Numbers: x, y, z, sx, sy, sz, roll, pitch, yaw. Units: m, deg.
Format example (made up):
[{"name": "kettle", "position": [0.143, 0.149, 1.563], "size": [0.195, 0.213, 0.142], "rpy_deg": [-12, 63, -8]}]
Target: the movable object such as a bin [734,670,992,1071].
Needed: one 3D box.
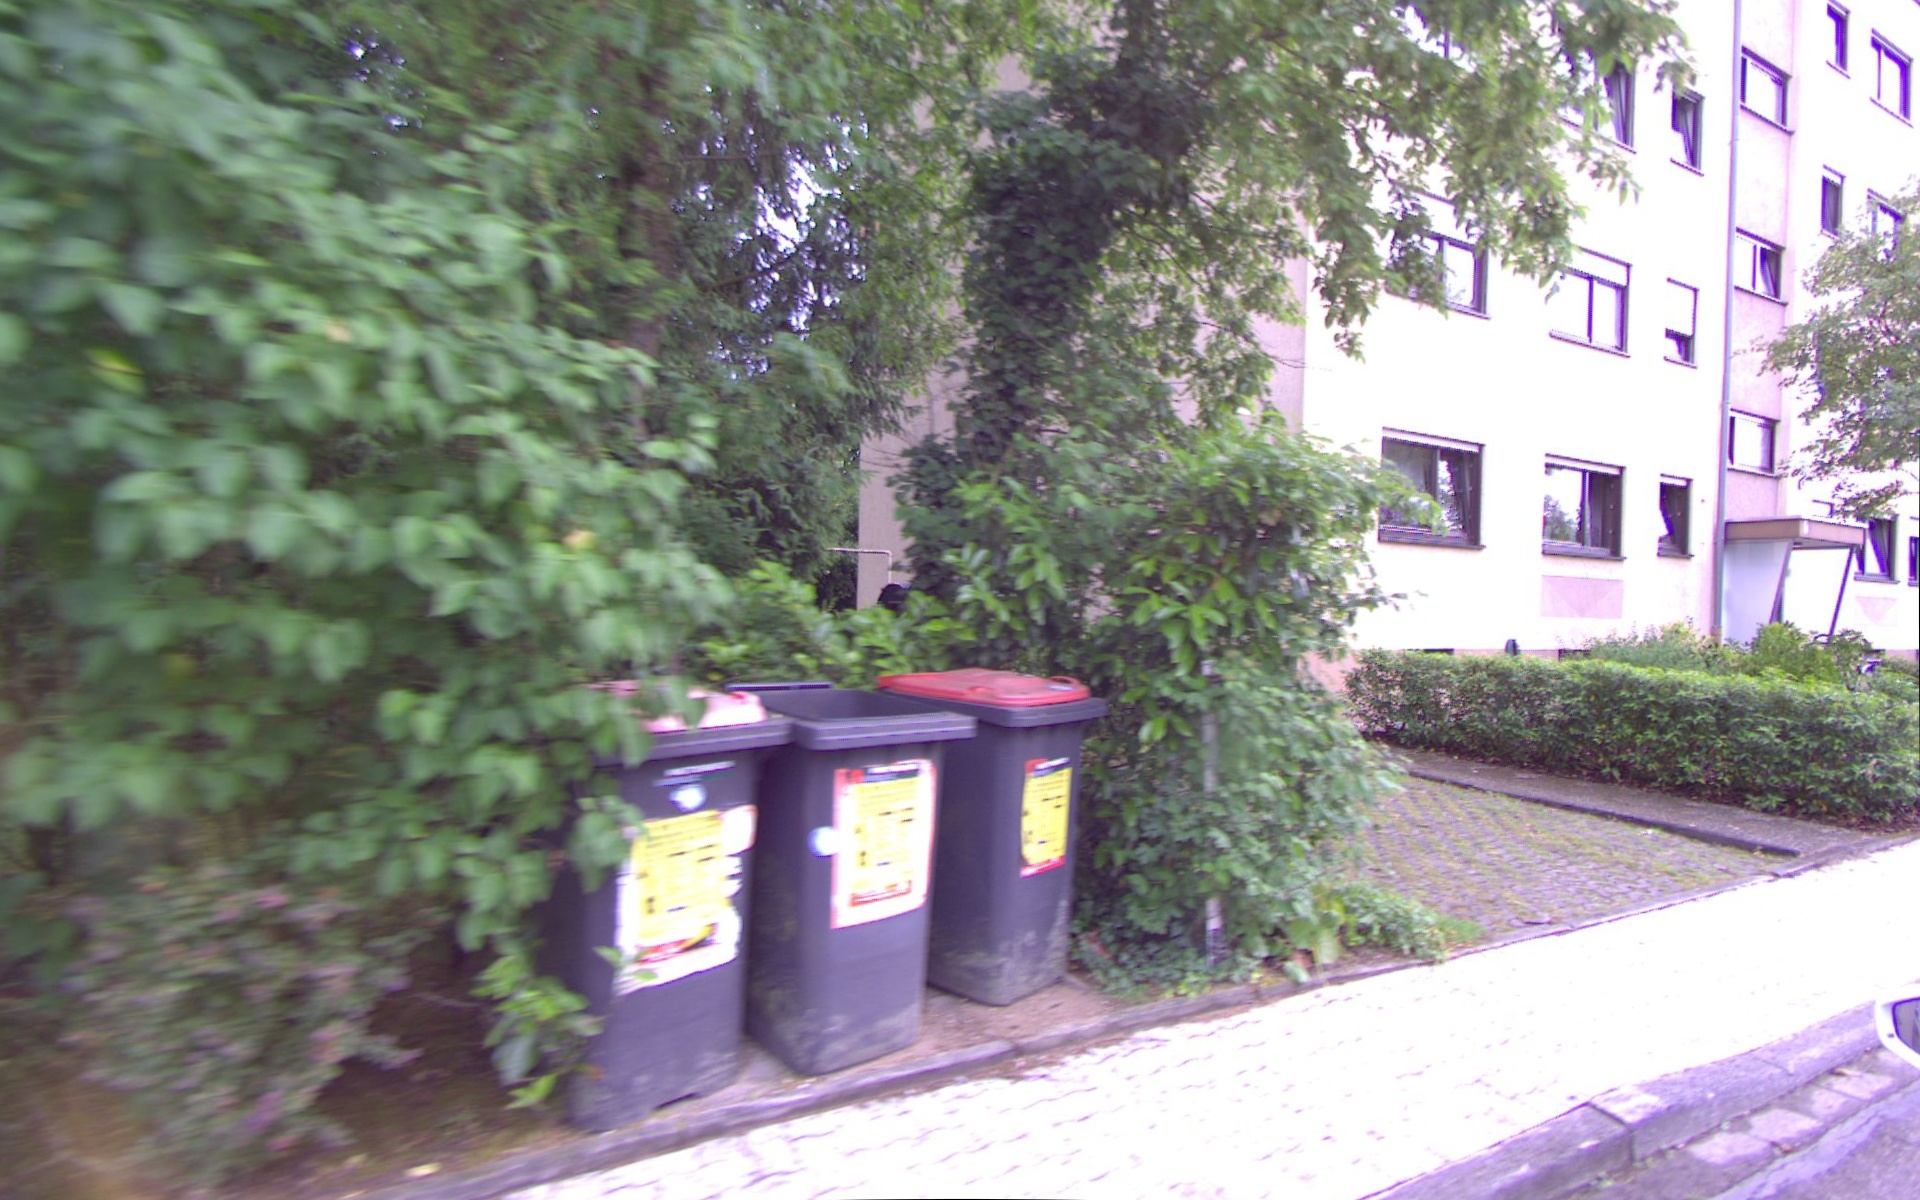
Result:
[{"name": "movable object such as a bin", "position": [-0.296, 0.747, 3.077], "size": [0.588, 1.035, 0.535], "rpy_deg": [-2, -2, 41]}]

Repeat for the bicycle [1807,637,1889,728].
[{"name": "bicycle", "position": [11.381, 1.032, 12.858], "size": [1.672, 1.065, 0.313], "rpy_deg": [-1, 0, -32]}]

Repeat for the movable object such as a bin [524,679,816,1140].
[{"name": "movable object such as a bin", "position": [-0.789, 0.749, 2.743], "size": [0.588, 1.035, 0.535], "rpy_deg": [-2, -2, 41]}]

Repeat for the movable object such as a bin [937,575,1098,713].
[{"name": "movable object such as a bin", "position": [0.642, 0.481, 11.401], "size": [1.463, 1.454, 1.099], "rpy_deg": [1, -1, -31]}]

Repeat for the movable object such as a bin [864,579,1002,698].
[{"name": "movable object such as a bin", "position": [-0.364, 0.495, 13.210], "size": [1.463, 1.454, 1.099], "rpy_deg": [1, -1, -31]}]

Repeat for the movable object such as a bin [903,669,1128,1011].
[{"name": "movable object such as a bin", "position": [0.194, 0.775, 3.538], "size": [0.588, 1.035, 0.535], "rpy_deg": [-2, -2, 41]}]
